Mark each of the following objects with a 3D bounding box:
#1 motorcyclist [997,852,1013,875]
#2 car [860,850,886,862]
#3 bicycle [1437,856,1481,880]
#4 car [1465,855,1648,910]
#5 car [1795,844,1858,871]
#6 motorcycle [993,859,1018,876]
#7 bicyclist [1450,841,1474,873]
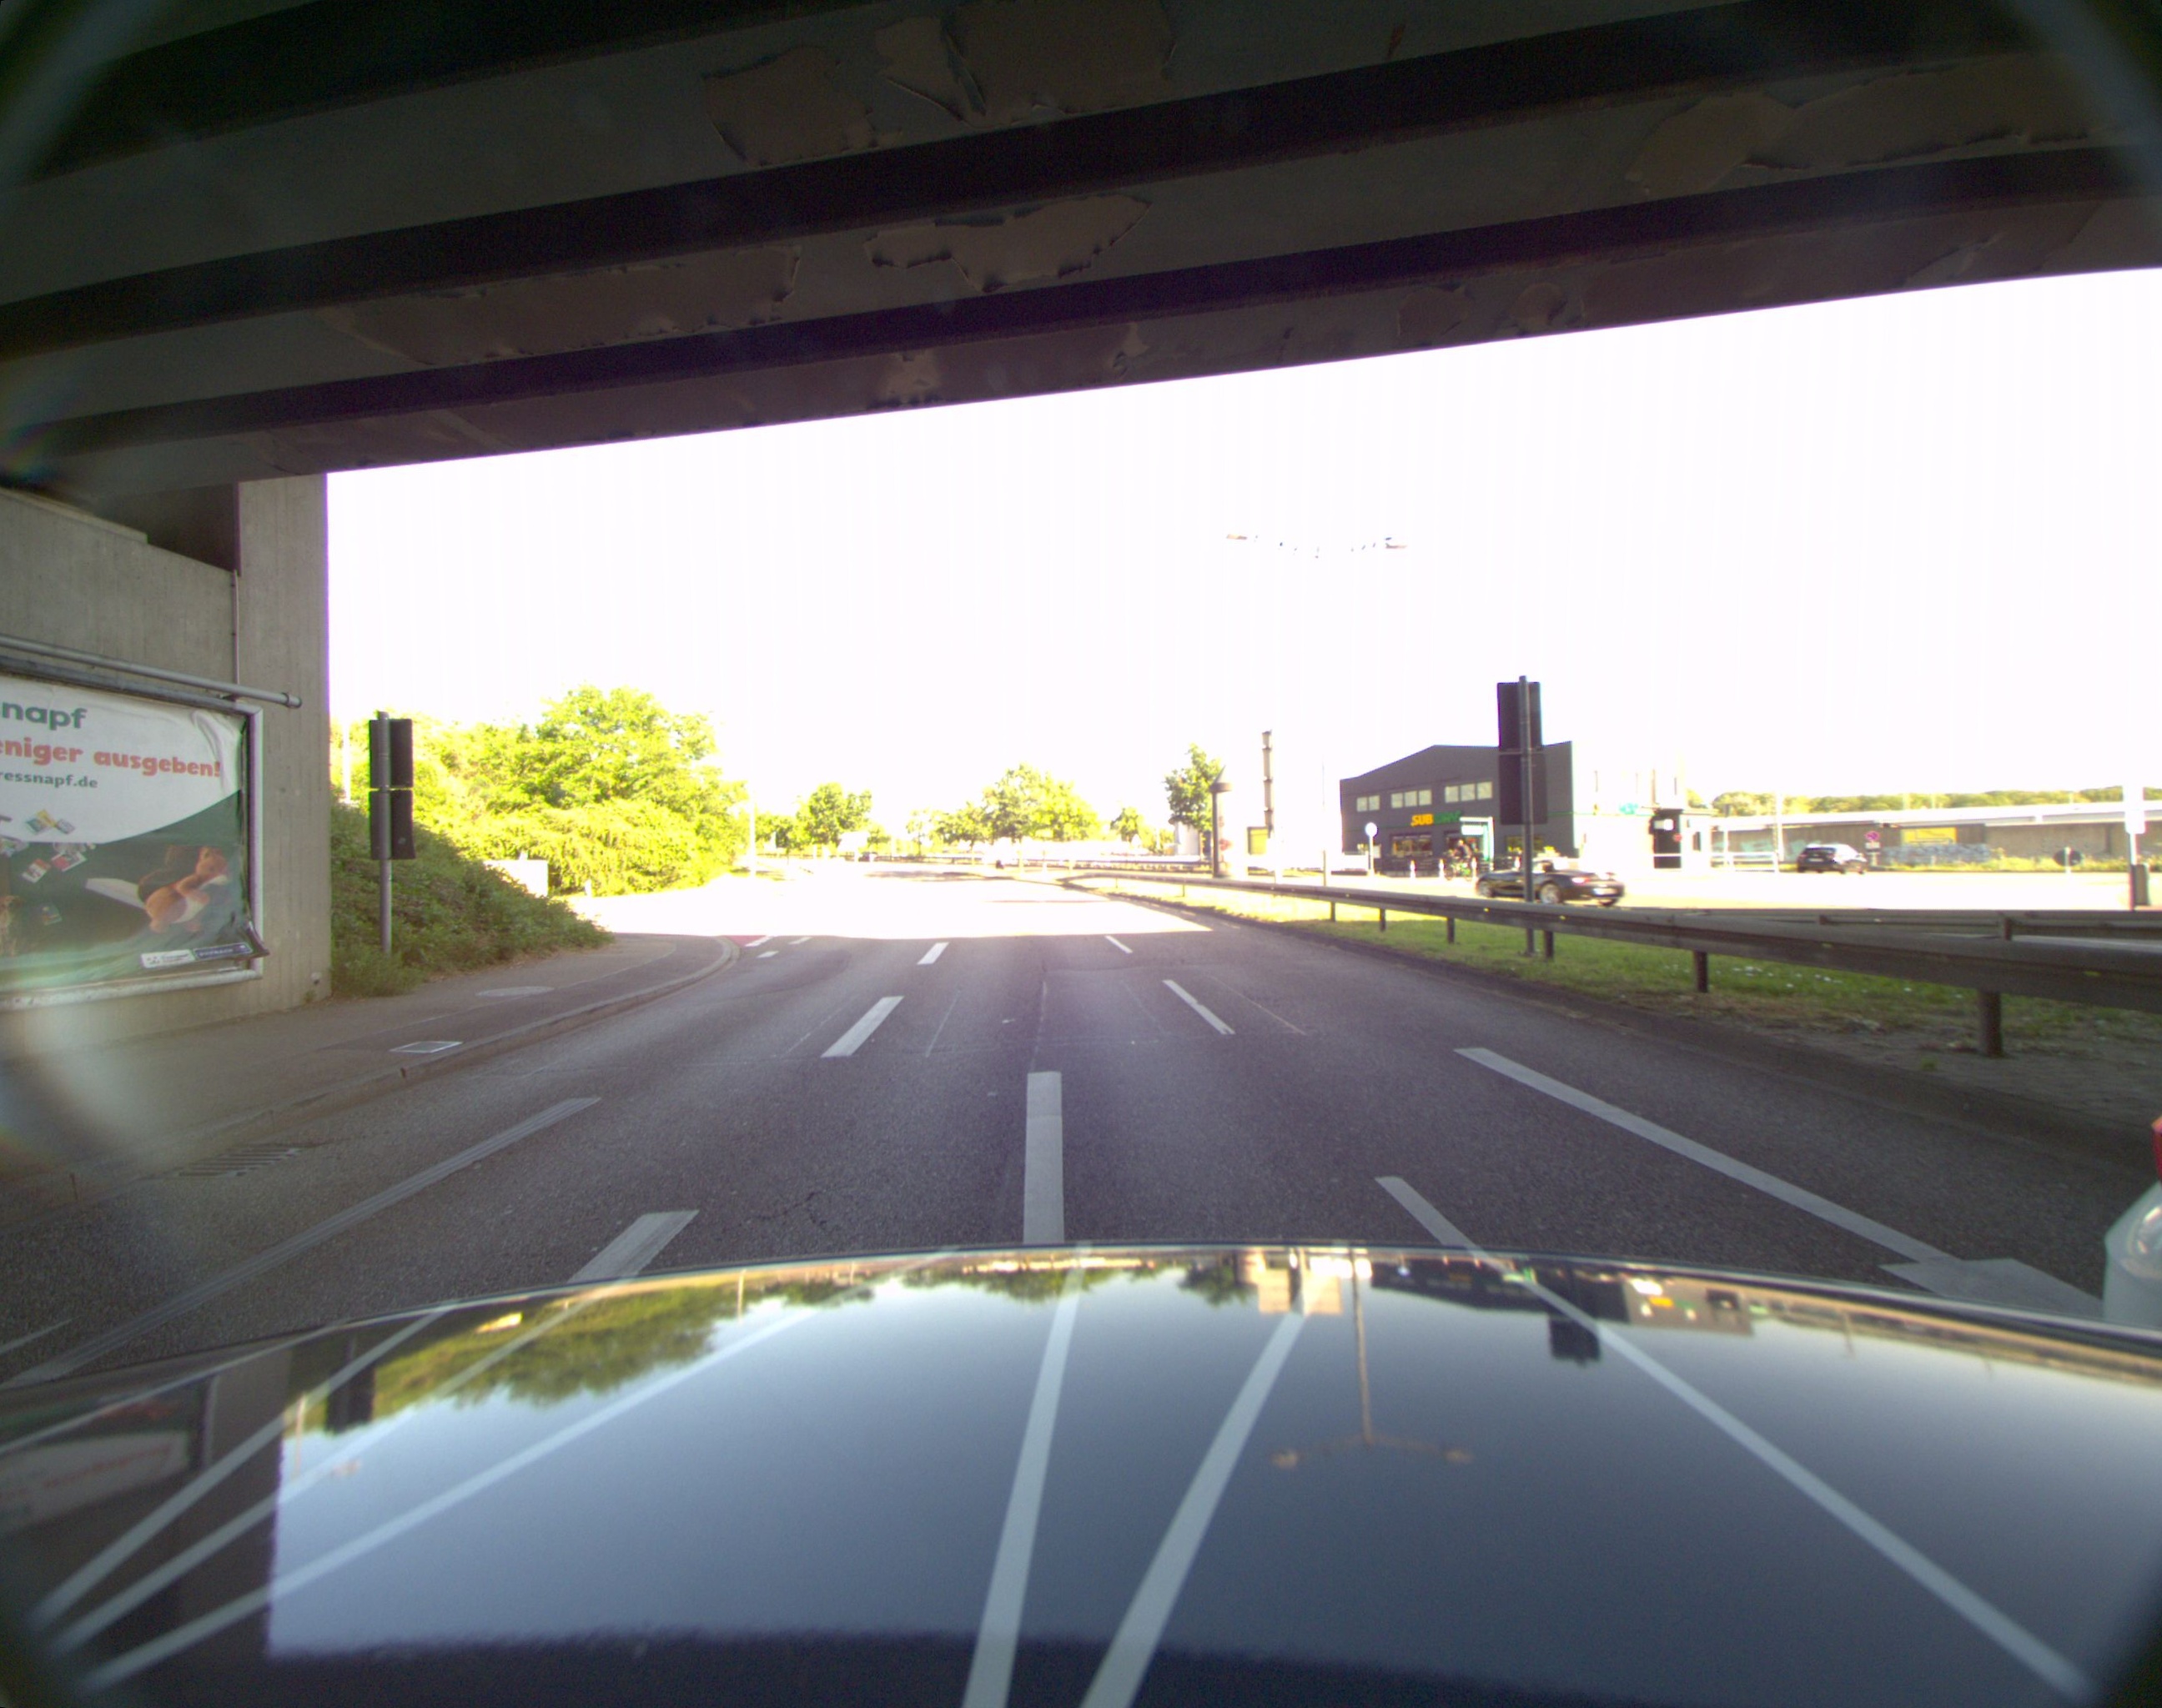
[{"bbox_3d":[-7.702,0.969,76.764,1.110,2.228,1.180,-3,1,-33],"label":"motorcyclist"},{"bbox_3d":[-30.876,0.326,112.491,1.835,1.727,4.516,1,0,-42],"label":"car"},{"bbox_3d":[17.104,0.627,34.453,0.594,1.017,1.746,-3,1,-28],"label":"bicycle"},{"bbox_3d":[12.218,0.677,19.908,1.748,1.274,4.179,1,0,-9],"label":"car"},{"bbox_3d":[38.288,0.186,39.014,4.191,1.274,1.825,1,0,-39],"label":"car"},{"bbox_3d":[-7.667,1.367,76.783,1.110,1.651,3.147,-3,1,-33],"label":"motorcycle"},{"bbox_3d":[17.181,0.119,34.250,0.594,1.419,0.707,-3,1,-28],"label":"bicyclist"}]
